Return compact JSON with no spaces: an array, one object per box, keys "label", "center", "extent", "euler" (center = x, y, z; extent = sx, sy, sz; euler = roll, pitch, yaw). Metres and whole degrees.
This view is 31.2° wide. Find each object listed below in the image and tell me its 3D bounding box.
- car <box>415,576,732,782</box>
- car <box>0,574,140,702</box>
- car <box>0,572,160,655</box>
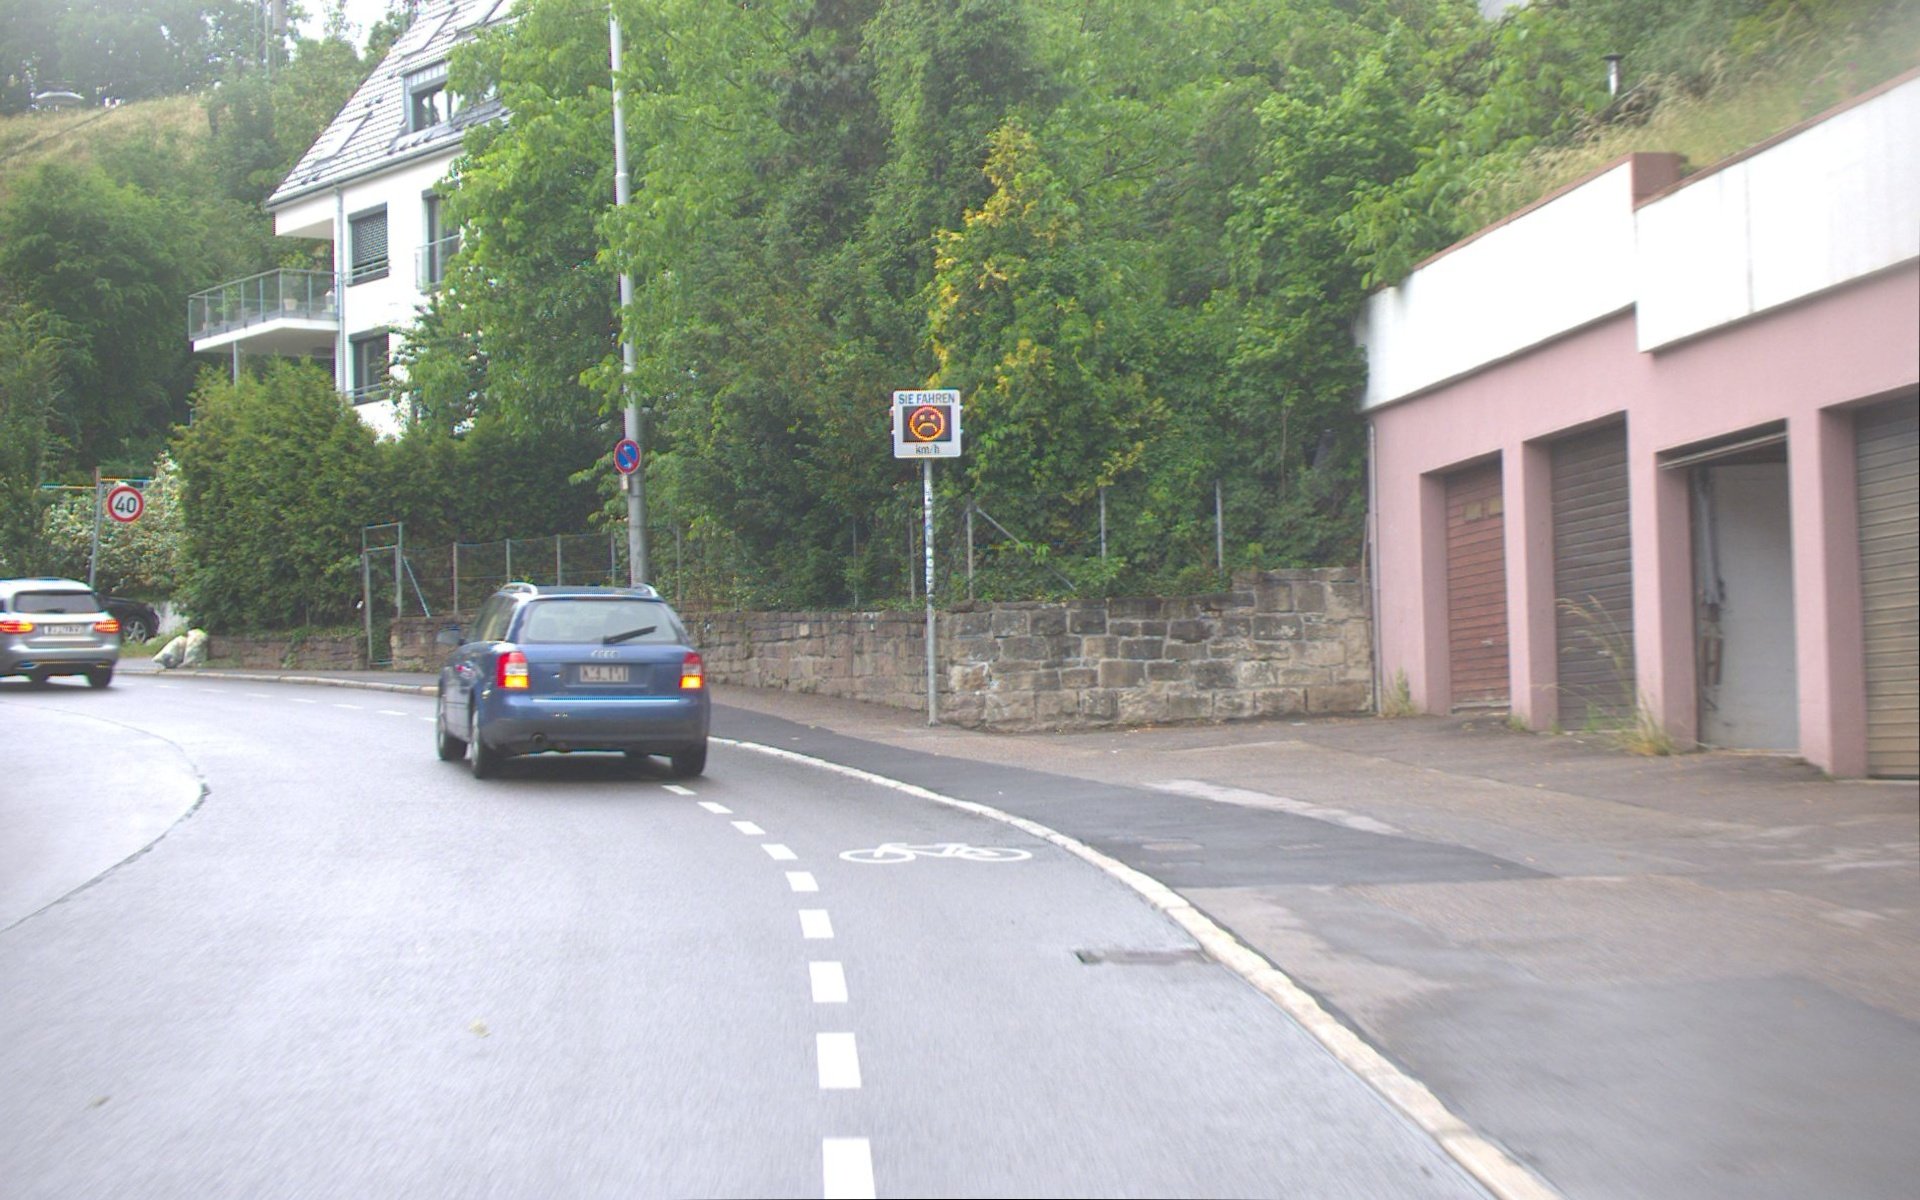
[{"label":"car","center":[-3.097,0.545,26.781],"extent":[1.853,1.409,4.363],"euler":[-1,1,-14]},{"label":"car","center":[-12.867,0.469,47.197],"extent":[1.950,1.556,4.264],"euler":[3,1,-30]},{"label":"car","center":[-17.331,0.233,64.849],"extent":[1.739,1.503,4.173],"euler":[0,1,38]}]
